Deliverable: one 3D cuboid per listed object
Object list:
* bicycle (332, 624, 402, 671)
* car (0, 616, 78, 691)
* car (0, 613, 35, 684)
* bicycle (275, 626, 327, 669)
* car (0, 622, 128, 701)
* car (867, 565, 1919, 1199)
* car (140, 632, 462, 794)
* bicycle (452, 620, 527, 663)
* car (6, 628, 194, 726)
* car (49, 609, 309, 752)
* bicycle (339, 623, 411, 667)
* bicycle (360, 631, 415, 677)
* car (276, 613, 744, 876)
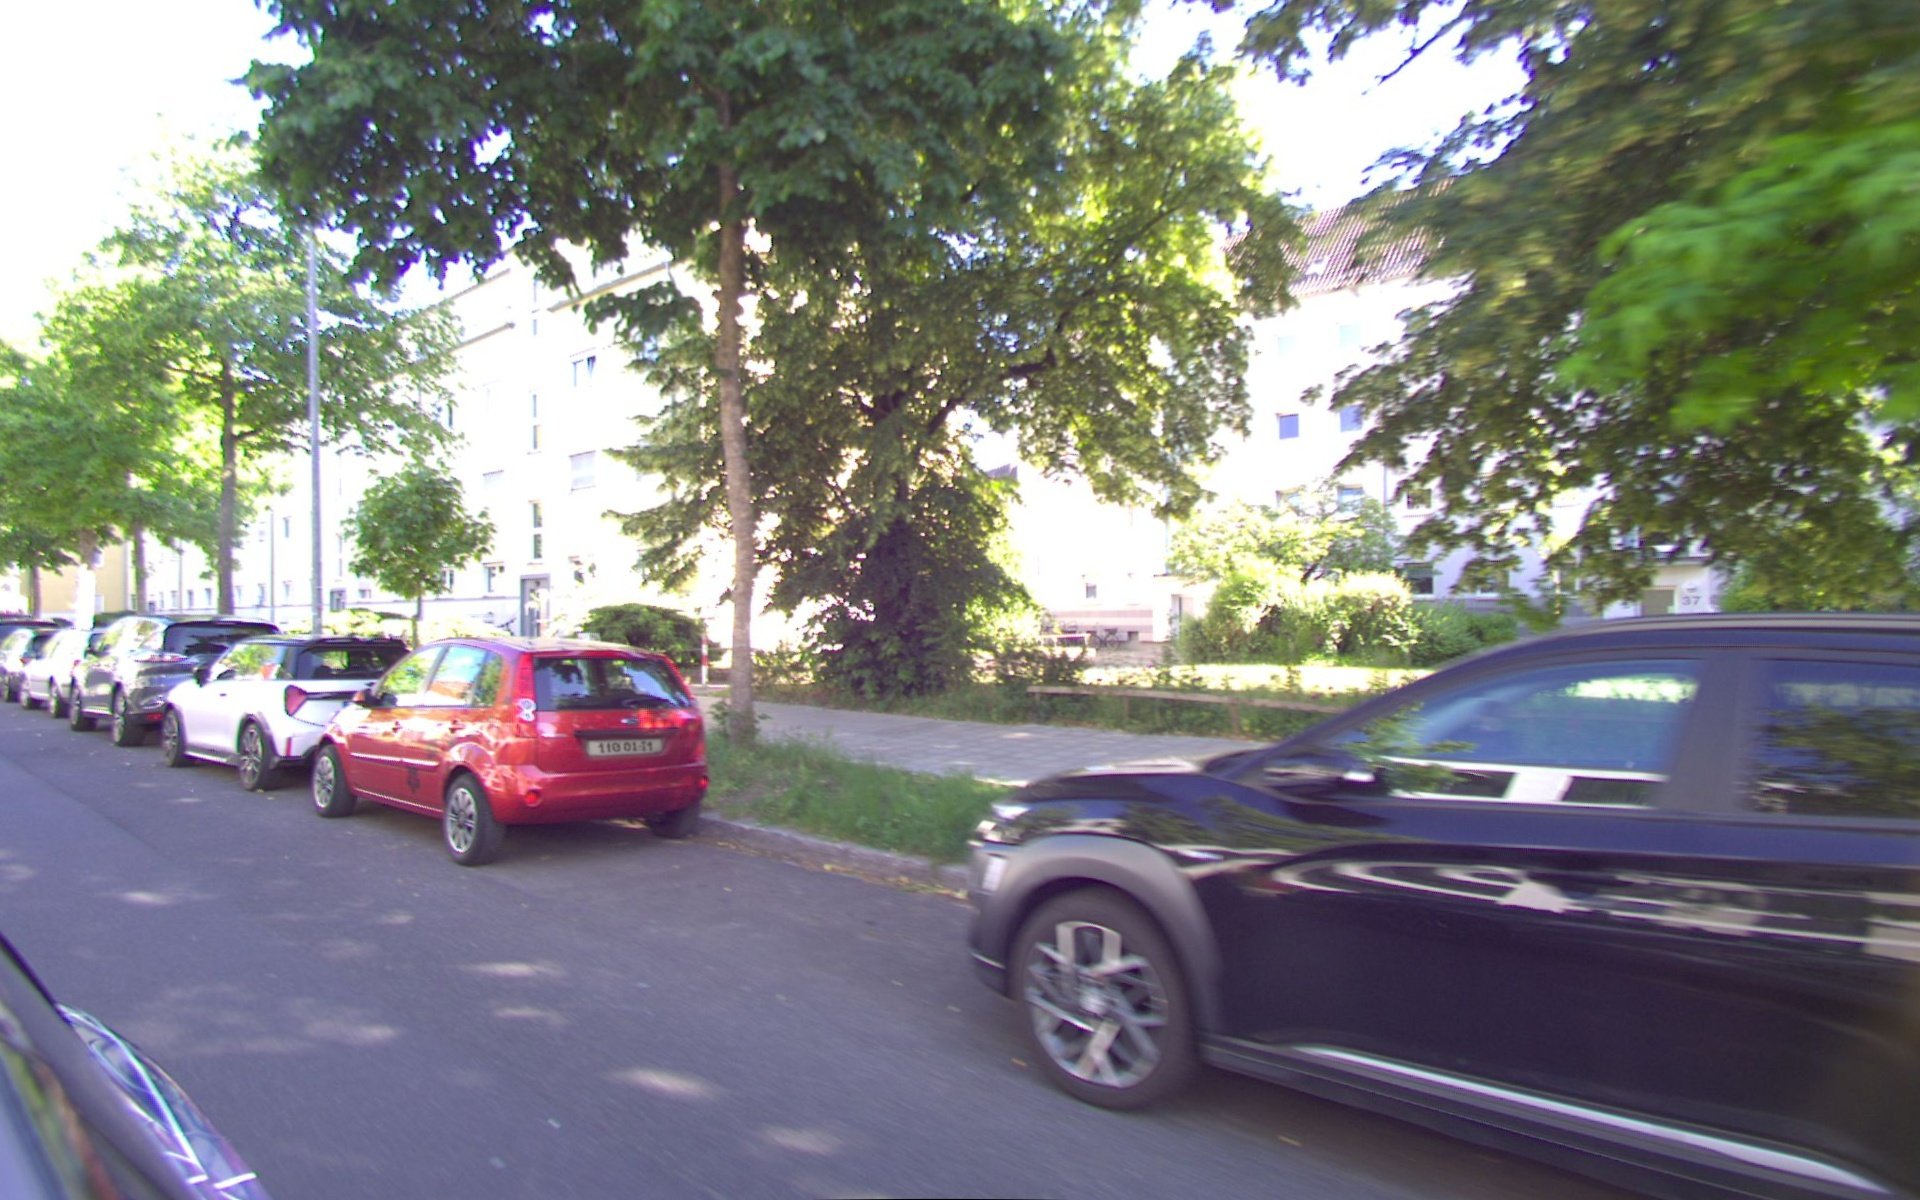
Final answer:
[{"bbox_3d":[-16.370,1.296,27.964,0.515,1.235,1.623,-1,-1,30],"label":"bicycle"},{"bbox_3d":[-23.186,1.265,24.569,4.519,1.699,1.777,-1,-2,37],"label":"car"},{"bbox_3d":[-27.246,1.309,28.039,4.863,1.864,1.775,-2,-2,40],"label":"car"},{"bbox_3d":[-19.126,1.364,29.347,2.258,1.199,0.589,-1,-2,39],"label":"bicycle"},{"bbox_3d":[-18.848,1.201,20.873,4.485,1.463,1.775,-1,-2,40],"label":"car"},{"bbox_3d":[1.880,0.758,2.955,4.479,1.589,1.688,-2,-2,41],"label":"car"},{"bbox_3d":[-7.053,1.031,10.671,4.184,1.384,1.638,-1,-2,39],"label":"car"},{"bbox_3d":[-14.338,1.257,30.876,0.776,1.235,1.934,-1,-1,37],"label":"bicycle"},{"bbox_3d":[-15.033,1.243,17.607,4.485,1.492,1.689,-1,-2,39],"label":"car"},{"bbox_3d":[-11.030,1.007,14.139,5.083,1.669,1.823,-2,-2,40],"label":"car"},{"bbox_3d":[-17.414,1.319,30.147,0.517,1.235,1.802,-1,-1,41],"label":"bicycle"},{"bbox_3d":[-14.124,1.317,24.958,1.932,1.069,0.566,-1,-1,41],"label":"bicycle"},{"bbox_3d":[-3.607,0.890,7.789,4.064,1.516,1.638,-1,-2,39],"label":"car"}]
